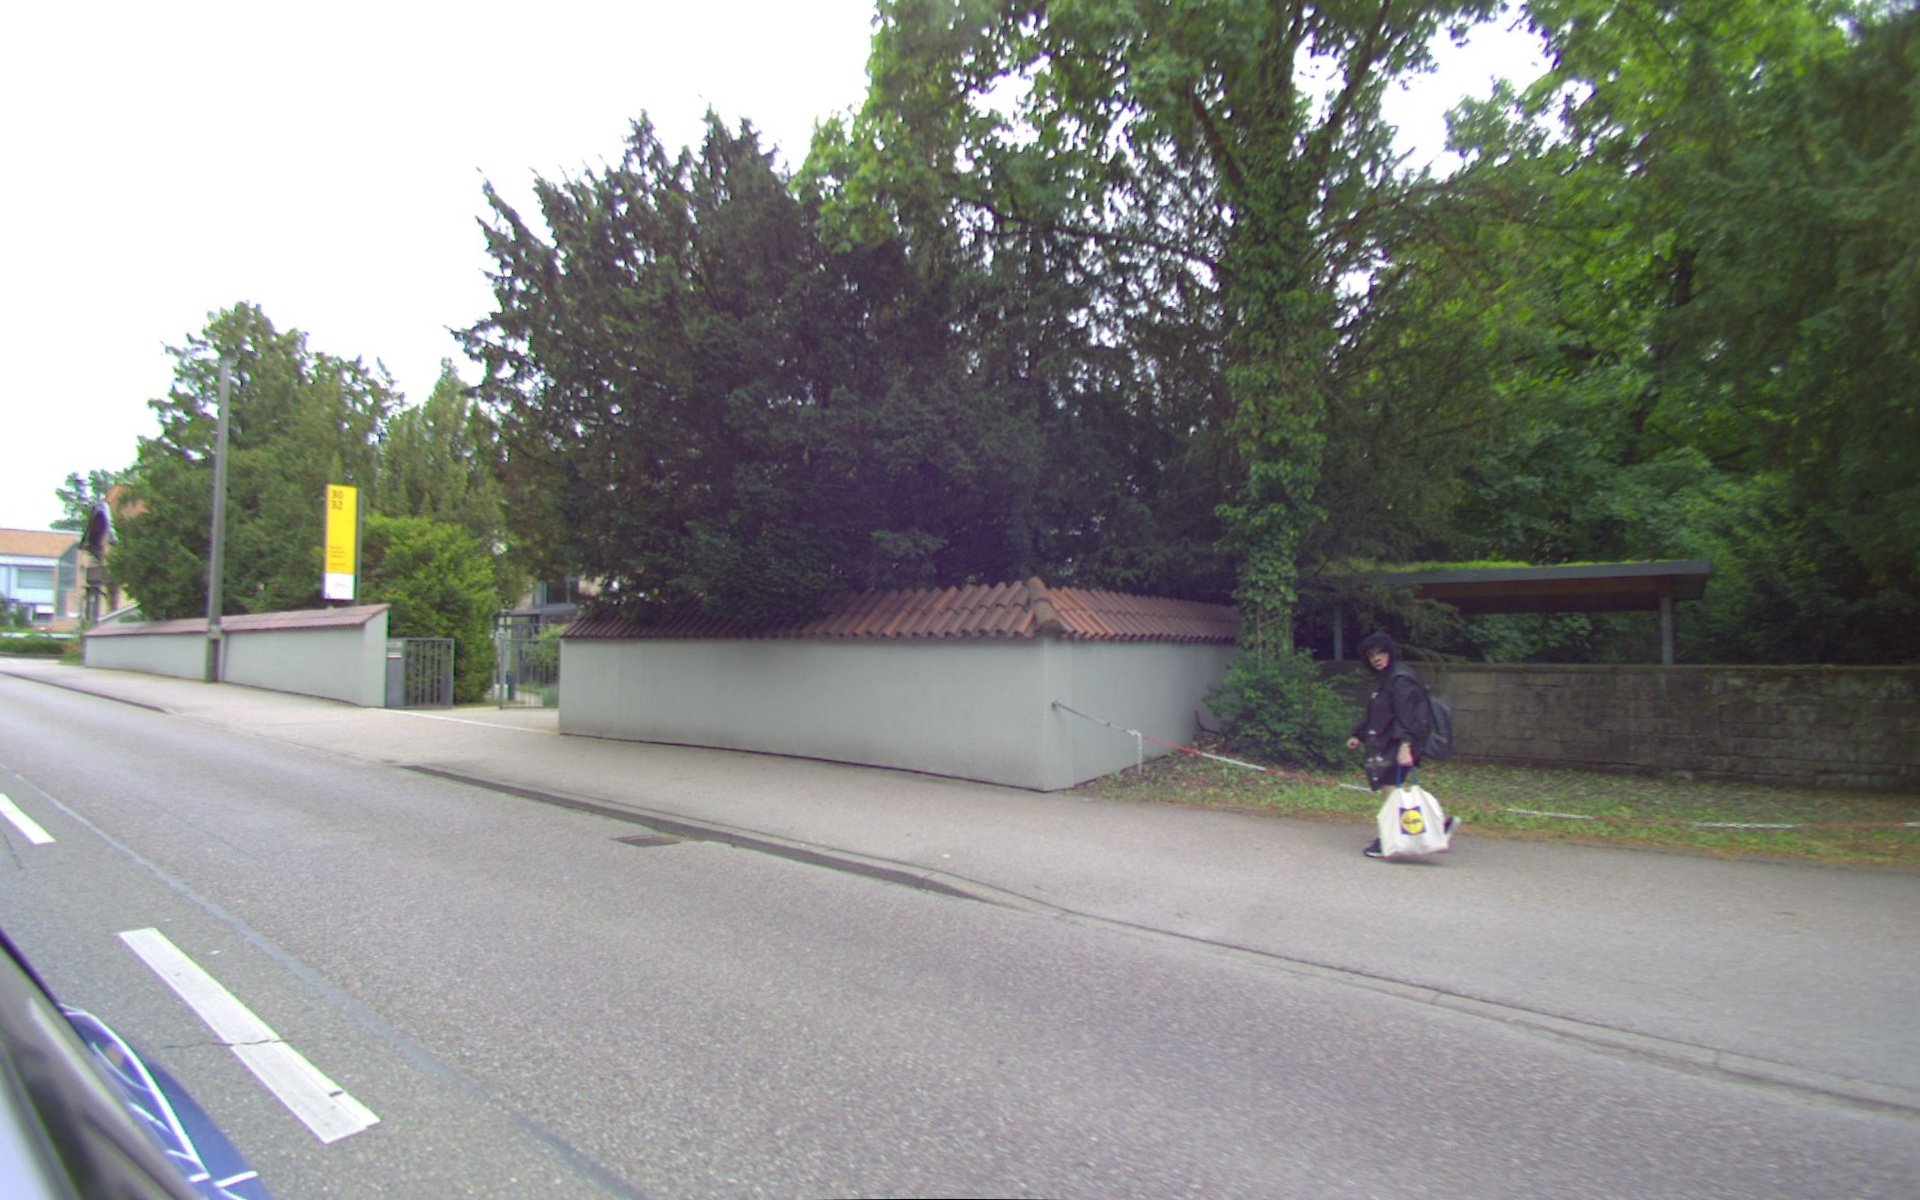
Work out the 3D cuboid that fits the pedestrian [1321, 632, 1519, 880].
[{"bbox_3d":[3.129,1.012,6.983,0.889,1.572,0.929,0,-1,-3],"label":"pedestrian"}]
